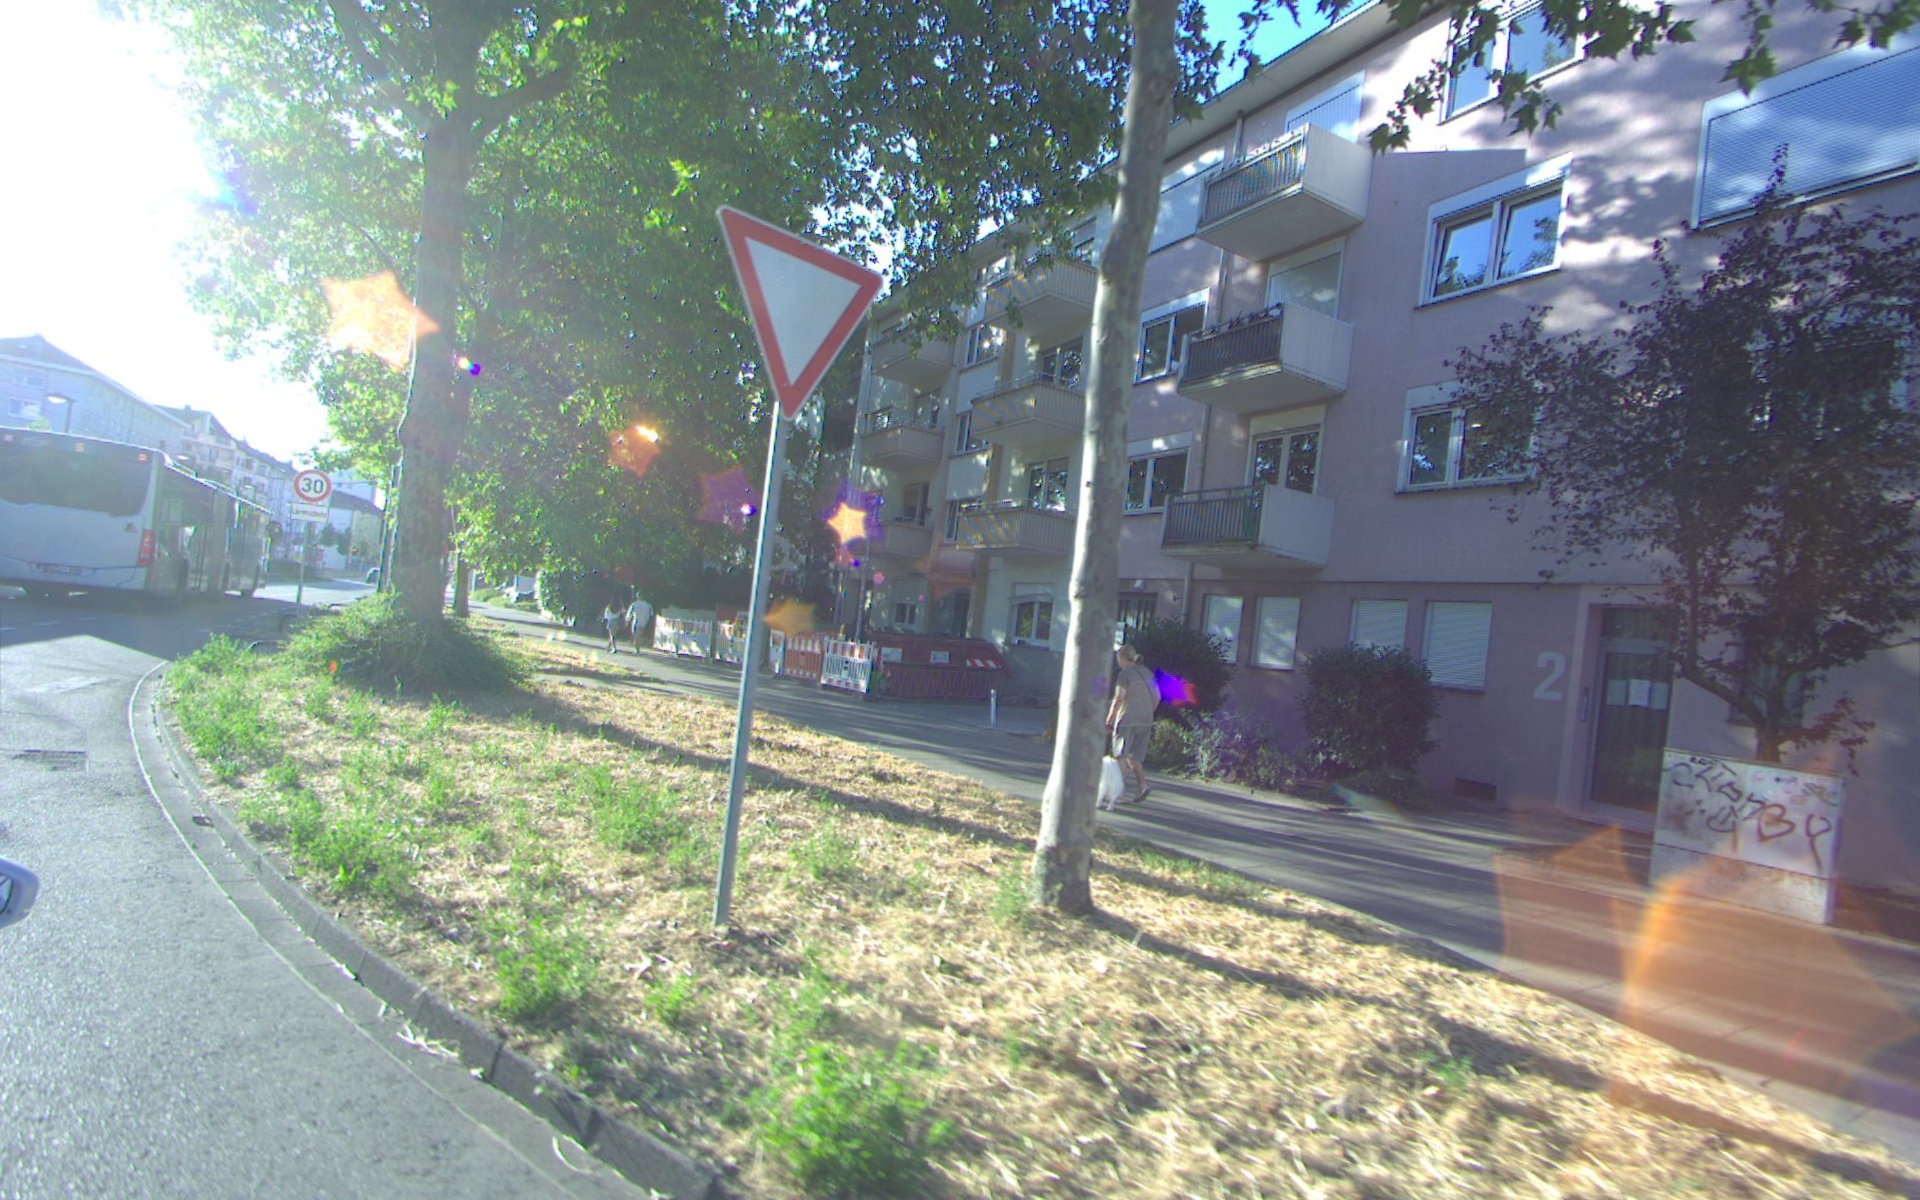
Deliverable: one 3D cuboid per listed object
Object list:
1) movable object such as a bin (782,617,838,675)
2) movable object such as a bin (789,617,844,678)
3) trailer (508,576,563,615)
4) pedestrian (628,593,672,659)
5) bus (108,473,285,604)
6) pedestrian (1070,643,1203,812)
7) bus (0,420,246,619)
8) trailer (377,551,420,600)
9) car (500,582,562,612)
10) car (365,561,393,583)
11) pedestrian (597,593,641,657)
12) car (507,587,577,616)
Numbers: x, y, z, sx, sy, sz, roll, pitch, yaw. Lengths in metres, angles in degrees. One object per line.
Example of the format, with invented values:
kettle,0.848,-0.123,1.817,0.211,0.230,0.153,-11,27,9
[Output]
movable object such as a bin,-4.167,1.277,28.038,1.275,1.451,0.840,7,-1,-1
movable object such as a bin,-3.847,1.276,27.062,1.276,1.451,0.839,7,-1,-8
trailer,-27.829,-0.304,65.967,3.038,2.093,1.867,8,-2,-26
pedestrian,-8.476,0.698,27.484,0.785,1.686,0.810,8,-1,-32
bus,-23.203,-1.724,31.098,2.687,3.143,8.918,8,-2,-28
pedestrian,1.700,1.222,9.740,0.785,1.491,0.810,8,-1,-32
bus,-18.497,-1.551,22.592,2.713,3.175,10.624,8,-2,-30
trailer,-33.342,-1.434,59.804,1.817,2.587,3.298,7,-2,-27
car,-31.080,-0.200,72.843,3.888,1.656,1.695,8,-2,-28
car,-57.515,-2.732,99.663,1.976,1.836,3.976,8,-2,-26
pedestrian,-9.183,0.673,27.050,0.785,1.590,0.810,8,-1,-32
car,-26.478,0.074,63.674,3.886,1.351,1.696,8,-2,-27
